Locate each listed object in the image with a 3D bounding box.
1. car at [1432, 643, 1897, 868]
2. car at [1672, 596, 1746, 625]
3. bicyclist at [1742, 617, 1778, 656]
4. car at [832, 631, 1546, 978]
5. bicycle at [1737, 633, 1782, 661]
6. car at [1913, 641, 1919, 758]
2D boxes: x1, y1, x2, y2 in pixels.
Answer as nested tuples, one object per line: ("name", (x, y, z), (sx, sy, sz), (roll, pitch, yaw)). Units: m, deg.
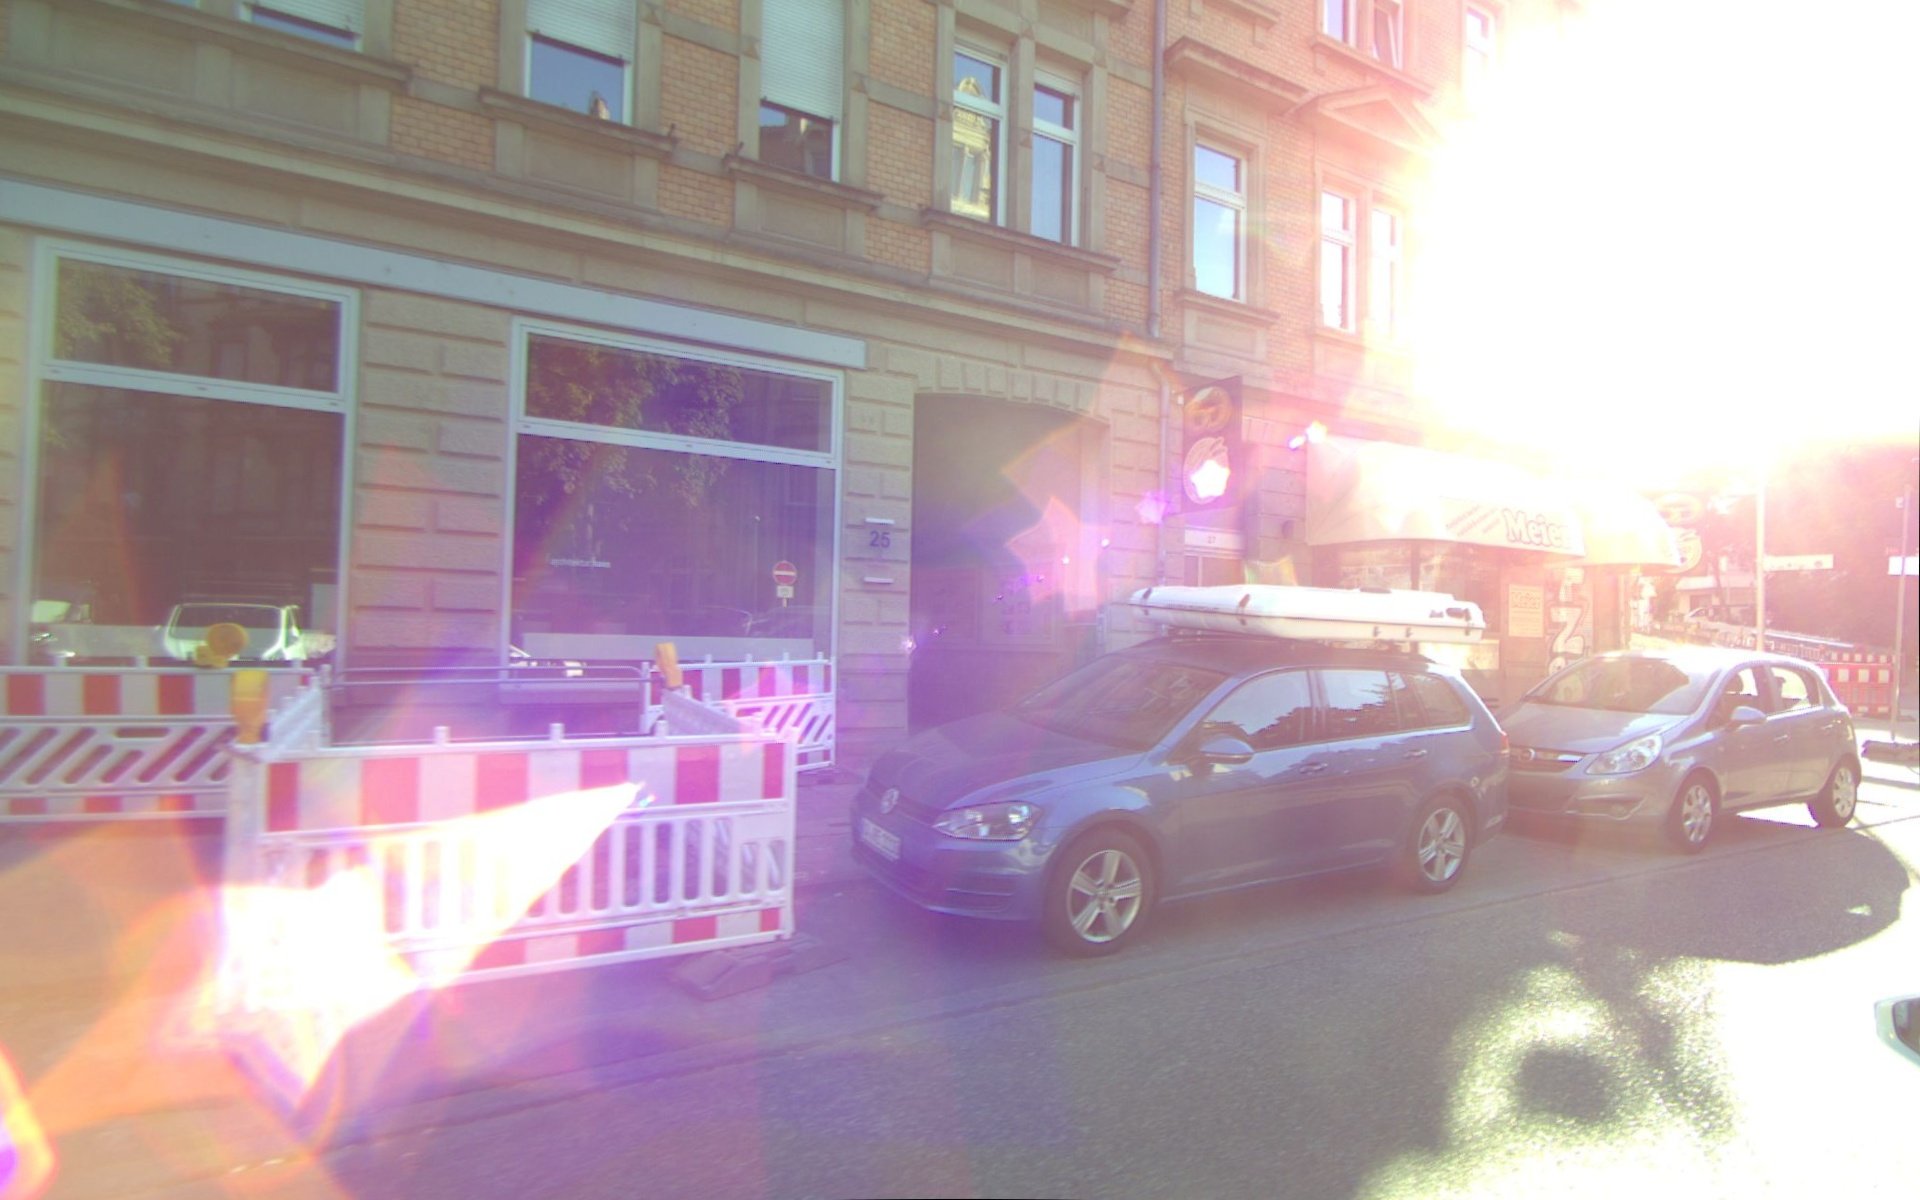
("car", (6.065, 1.144, 8.577), (3.948, 1.456, 1.717), (2, 0, -30))
("car", (55.495, 0.790, 74.433), (4.315, 2.040, 1.926), (1, -1, 39))
("bicyclist", (29.364, 1.346, 36.890), (0.790, 1.402, 0.984), (1, -1, 25))
("car", (1.531, 0.945, 6.128), (4.252, 1.456, 1.756), (2, -2, -32))
("bicycle", (29.376, 1.722, 36.941), (0.790, 0.981, 2.107), (1, -1, 25))
("car", (14.846, 1.380, 13.787), (3.956, 1.550, 1.660), (2, -2, -32))
